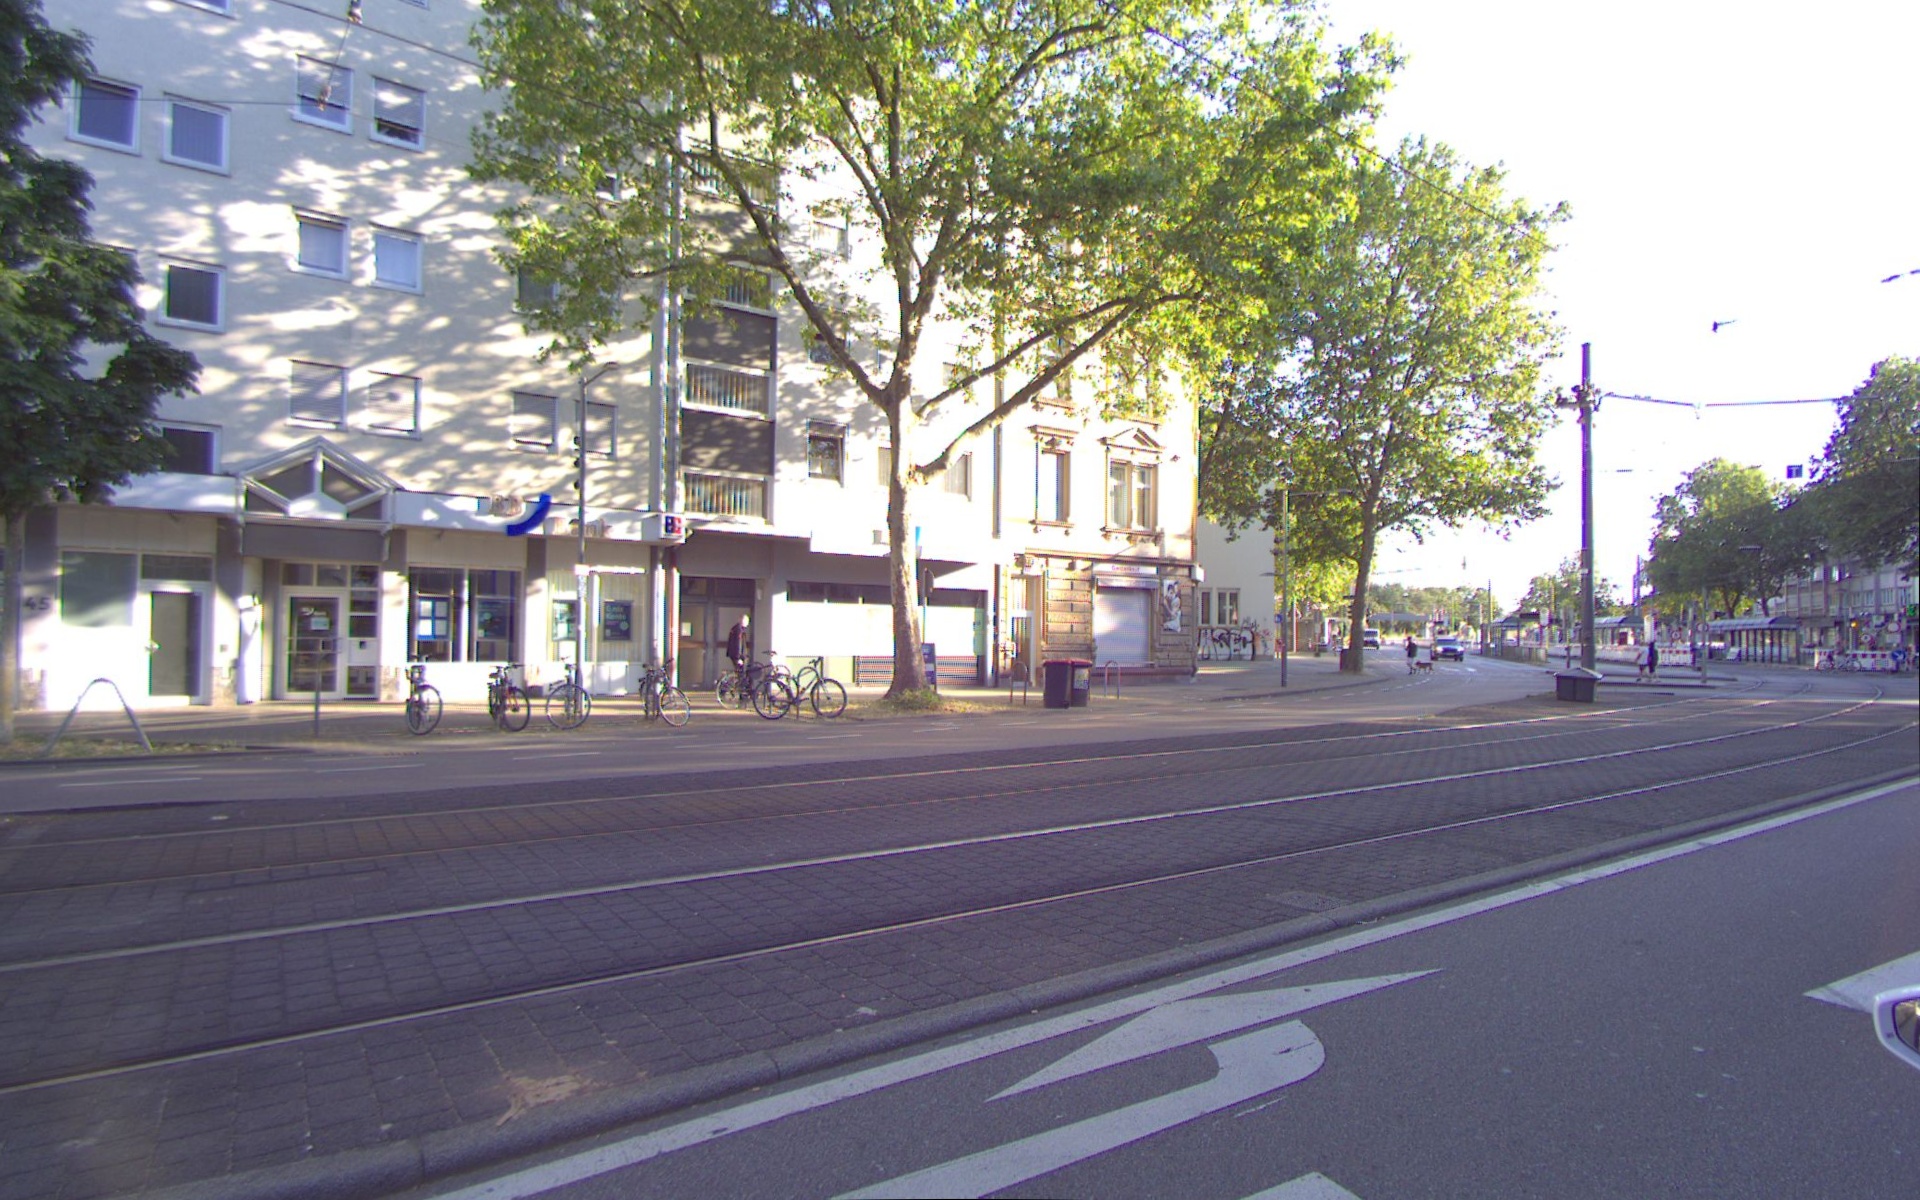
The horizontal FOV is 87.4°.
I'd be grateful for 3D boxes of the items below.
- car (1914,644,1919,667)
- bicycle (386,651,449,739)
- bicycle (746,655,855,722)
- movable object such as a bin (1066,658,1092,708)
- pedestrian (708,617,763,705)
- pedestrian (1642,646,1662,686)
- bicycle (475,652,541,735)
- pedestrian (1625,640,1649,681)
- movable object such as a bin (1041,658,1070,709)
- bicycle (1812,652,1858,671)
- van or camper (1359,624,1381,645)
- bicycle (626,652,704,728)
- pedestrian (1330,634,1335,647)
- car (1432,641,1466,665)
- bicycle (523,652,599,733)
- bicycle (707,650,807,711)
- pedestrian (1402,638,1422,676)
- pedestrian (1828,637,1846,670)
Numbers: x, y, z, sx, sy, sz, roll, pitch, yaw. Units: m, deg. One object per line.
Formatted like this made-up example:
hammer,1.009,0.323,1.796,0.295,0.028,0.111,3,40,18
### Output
car,64.460,3.649,65.822,1.635,1.488,3.412,-3,-3,22
bicycle,-8.031,1.366,14.837,0.529,1.139,1.880,2,-1,-36
bicycle,-2.871,1.573,18.199,1.891,1.139,0.505,2,-1,-34
movable object such as a bin,2.705,1.876,22.814,0.562,1.108,0.477,0,-2,5
pedestrian,-4.771,1.282,21.350,0.959,1.811,0.615,2,0,-31
pedestrian,26.222,2.493,38.038,0.509,1.524,0.407,1,-2,-21
bicycle,-7.039,1.411,15.585,0.529,1.139,1.880,2,-1,-36
pedestrian,25.596,2.278,37.981,0.585,1.524,0.519,1,-2,-22
movable object such as a bin,2.107,1.832,22.198,0.634,1.108,0.546,0,-2,5
bicycle,46.840,3.293,53.769,1.821,0.955,0.461,-1,-2,43
van or camper,46.912,3.954,114.915,2.133,2.349,5.101,-2,-3,24
bicycle,-5.042,1.500,17.078,0.646,1.139,1.880,2,-1,-36
pedestrian,41.730,4.522,112.553,0.507,1.524,0.558,0,-2,23
car,32.872,3.531,67.635,1.856,1.492,4.205,0,-2,24
bicycle,-6.400,1.442,16.058,0.646,1.139,1.880,2,-1,-36
bicycle,-4.018,1.582,19.995,1.891,1.139,0.505,2,-1,-34
pedestrian,21.000,2.646,46.659,0.663,1.733,0.431,2,0,2
pedestrian,46.609,2.847,53.379,0.712,1.748,0.397,-1,-2,43
